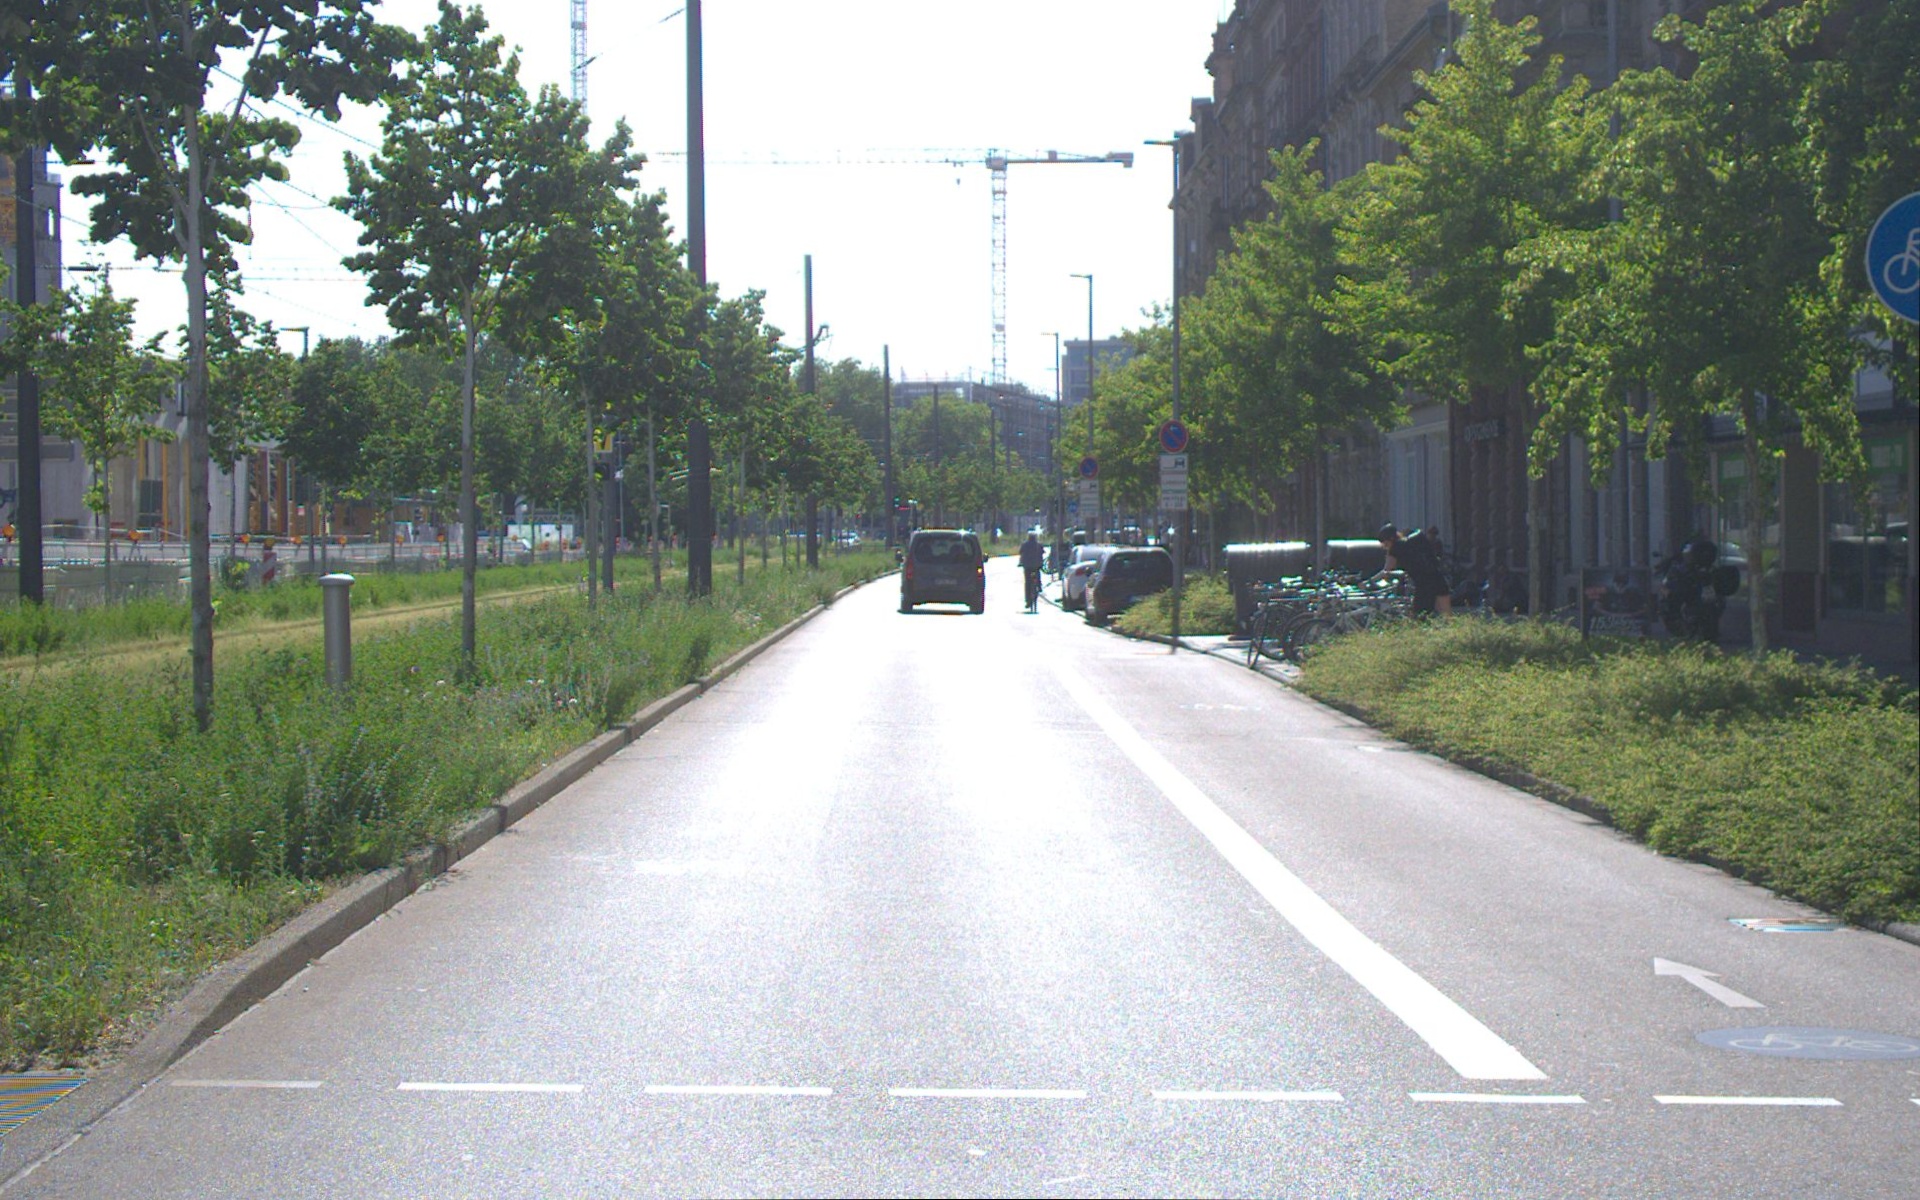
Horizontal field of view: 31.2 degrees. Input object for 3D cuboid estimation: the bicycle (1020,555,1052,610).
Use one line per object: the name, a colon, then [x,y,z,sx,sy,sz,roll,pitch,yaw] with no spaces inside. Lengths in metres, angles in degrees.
bicycle: [1.699,-0.399,77.069,0.601,1.177,1.869,2,1,-1]

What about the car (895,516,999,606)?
car: [-0.311,-0.883,76.361,2.200,1.919,4.654,-1,1,-1]

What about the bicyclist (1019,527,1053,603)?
bicyclist: [1.711,-0.794,77.315,0.684,1.667,0.922,2,1,-1]

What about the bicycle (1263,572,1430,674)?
bicycle: [4.458,0.259,39.670,1.792,1.027,0.527,-5,1,0]

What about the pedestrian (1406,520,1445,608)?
pedestrian: [8.540,-0.661,63.092,0.614,1.606,0.669,0,1,-1]

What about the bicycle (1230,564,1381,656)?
bicycle: [4.407,0.124,43.928,1.792,1.027,0.527,-5,1,0]

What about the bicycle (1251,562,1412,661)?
bicycle: [4.429,0.134,41.041,1.792,1.027,0.527,-5,1,0]

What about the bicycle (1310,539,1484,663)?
bicycle: [5.212,0.005,41.036,1.893,1.326,0.617,-5,1,-1]

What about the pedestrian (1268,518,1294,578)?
pedestrian: [8.663,-1.414,92.794,0.614,1.606,0.669,0,1,-1]

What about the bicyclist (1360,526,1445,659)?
bicyclist: [5.283,-0.096,41.084,0.798,1.525,0.662,-5,1,-1]

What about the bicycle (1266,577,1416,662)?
bicycle: [4.710,0.237,42.586,1.792,1.027,0.527,-1,1,0]

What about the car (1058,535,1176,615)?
car: [3.042,-0.515,67.404,2.028,1.493,4.654,-1,1,-1]

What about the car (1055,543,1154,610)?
car: [3.327,-0.573,79.777,2.028,1.493,4.530,-1,1,-1]

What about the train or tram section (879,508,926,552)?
train or tram section: [-3.727,-4.545,224.604,2.756,2.733,9.864,1,0,1]

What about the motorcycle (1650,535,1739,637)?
motorcycle: [9.425,-0.195,44.160,0.700,1.263,1.982,-1,1,-1]

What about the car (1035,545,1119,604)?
car: [3.118,-0.704,92.305,2.028,1.493,4.530,-1,1,-1]
